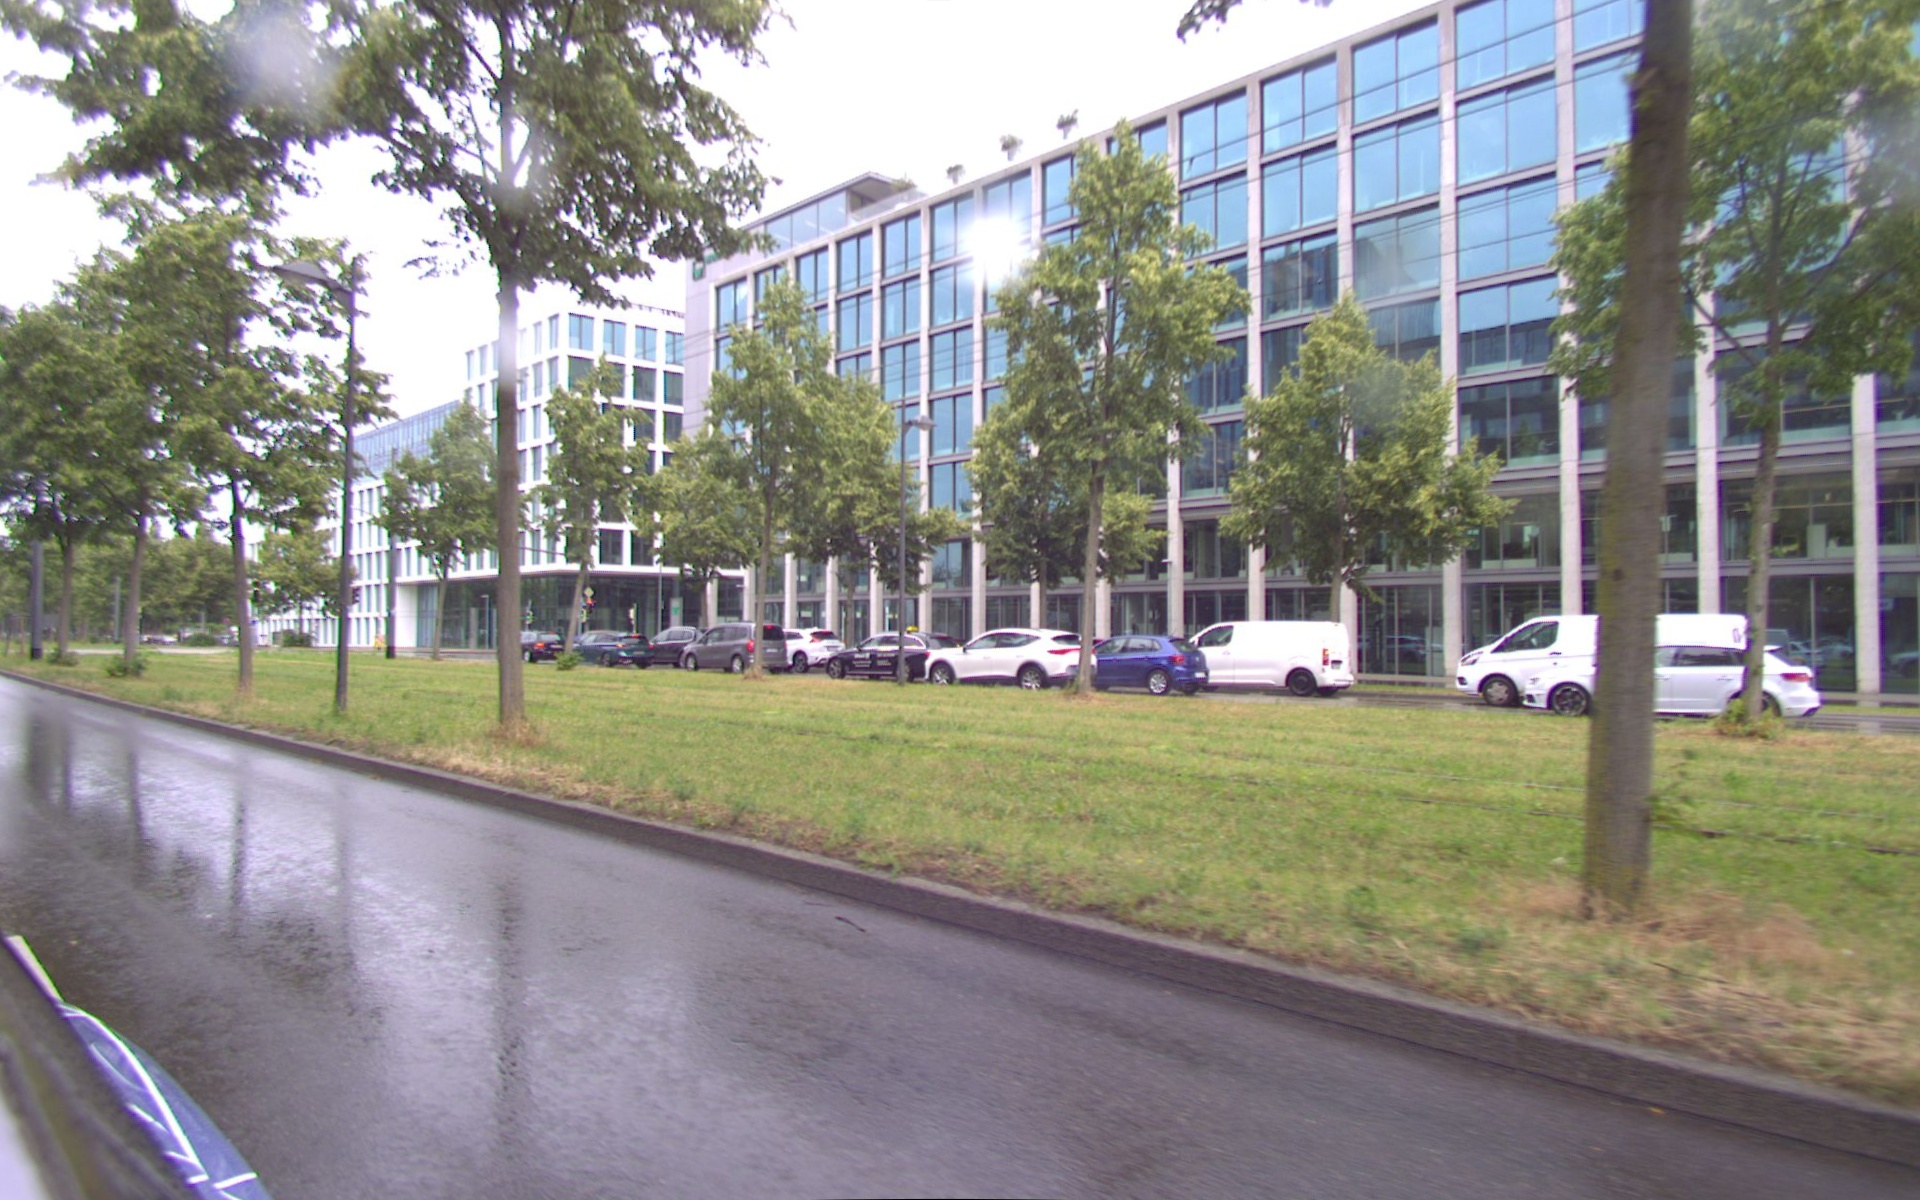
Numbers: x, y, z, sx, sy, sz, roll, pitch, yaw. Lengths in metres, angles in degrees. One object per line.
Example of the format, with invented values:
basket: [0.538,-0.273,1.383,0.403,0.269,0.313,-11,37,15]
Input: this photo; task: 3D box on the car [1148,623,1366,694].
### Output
car: [7.606,1.544,26.244,5.024,1.664,1.931,-5,-4,39]

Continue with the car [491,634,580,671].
car: [-19.106,2.369,45.465,4.461,1.571,1.930,-4,-4,41]

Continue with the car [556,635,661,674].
car: [-14.036,2.193,40.307,4.468,1.396,1.931,-5,-5,39]

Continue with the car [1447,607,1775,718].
car: [13.418,1.331,21.115,5.371,2.022,2.243,-5,-5,42]

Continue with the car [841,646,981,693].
car: [-1.702,2.344,33.847,4.620,1.458,1.840,-5,-4,39]

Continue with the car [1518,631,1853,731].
car: [12.573,1.313,17.763,4.573,1.525,1.930,-2,-2,41]

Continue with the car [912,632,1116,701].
car: [1.188,1.483,23.734,4.573,1.463,1.930,-2,-2,41]

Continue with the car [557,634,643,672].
car: [-16.930,2.457,47.525,4.268,1.707,1.931,-1,-3,40]

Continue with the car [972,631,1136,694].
car: [2.782,1.909,30.589,4.628,1.759,1.931,-5,-4,39]

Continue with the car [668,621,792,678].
car: [-8.146,1.755,35.644,4.540,1.863,1.930,-3,-4,41]

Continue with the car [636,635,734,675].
car: [-11.773,2.376,43.223,4.267,1.552,1.931,-5,-4,39]

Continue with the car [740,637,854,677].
car: [-6.254,2.184,38.502,4.267,1.396,1.931,-5,-4,39]

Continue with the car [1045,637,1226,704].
car: [4.291,1.756,25.073,3.957,1.506,1.931,-5,-4,39]

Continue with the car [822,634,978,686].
car: [-1.856,1.808,30.257,4.601,1.396,1.931,-5,-5,40]
